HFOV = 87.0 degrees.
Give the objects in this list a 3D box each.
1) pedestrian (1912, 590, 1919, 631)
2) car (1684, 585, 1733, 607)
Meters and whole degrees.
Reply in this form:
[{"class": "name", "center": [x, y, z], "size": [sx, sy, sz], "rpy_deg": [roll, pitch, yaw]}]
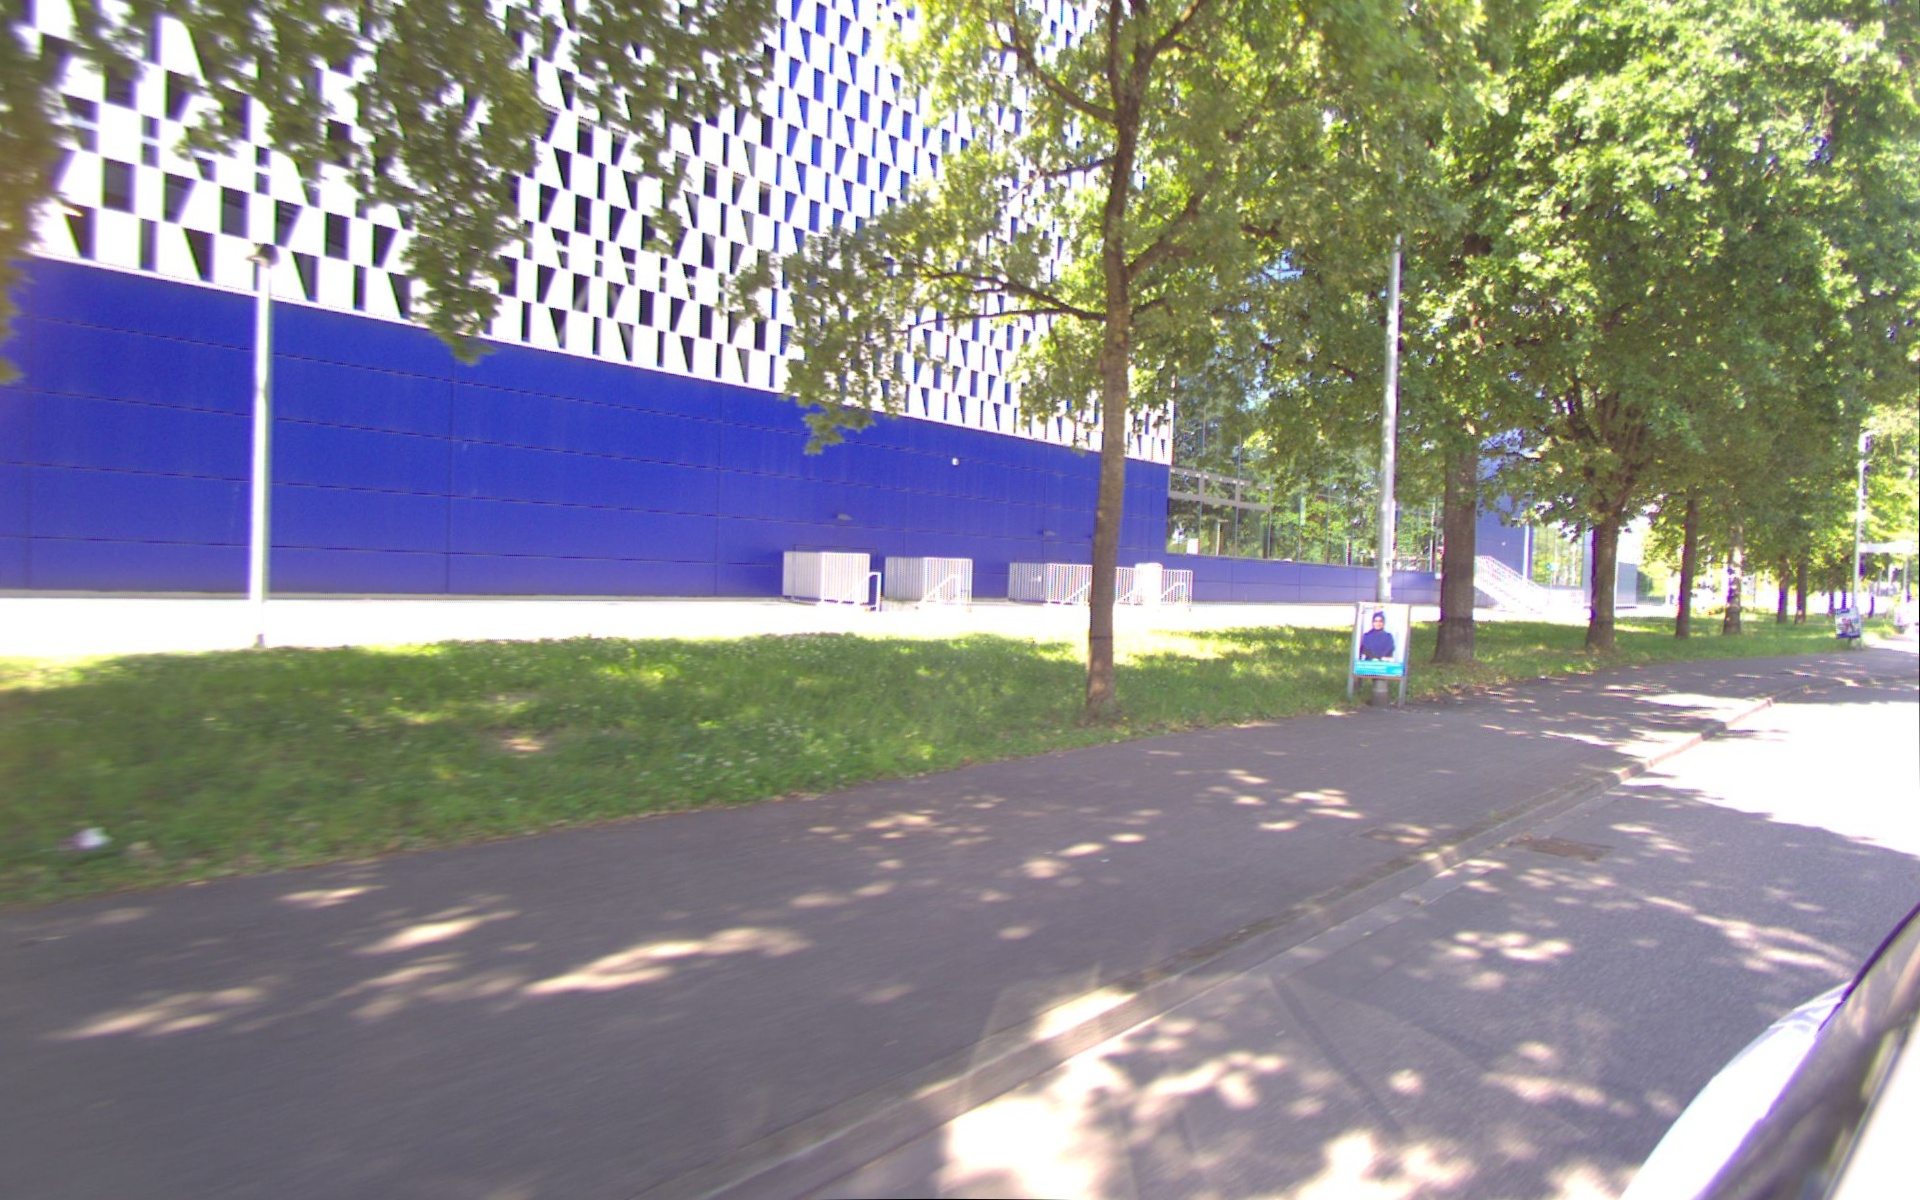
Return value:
[{"class": "pedestrian", "center": [44.108, 0.468, 46.438], "size": [0.716, 1.864, 0.535], "rpy_deg": [1, 2, -44]}, {"class": "car", "center": [68.665, -0.356, 92.874], "size": [4.094, 1.851, 1.915], "rpy_deg": [1, 2, -27]}]
